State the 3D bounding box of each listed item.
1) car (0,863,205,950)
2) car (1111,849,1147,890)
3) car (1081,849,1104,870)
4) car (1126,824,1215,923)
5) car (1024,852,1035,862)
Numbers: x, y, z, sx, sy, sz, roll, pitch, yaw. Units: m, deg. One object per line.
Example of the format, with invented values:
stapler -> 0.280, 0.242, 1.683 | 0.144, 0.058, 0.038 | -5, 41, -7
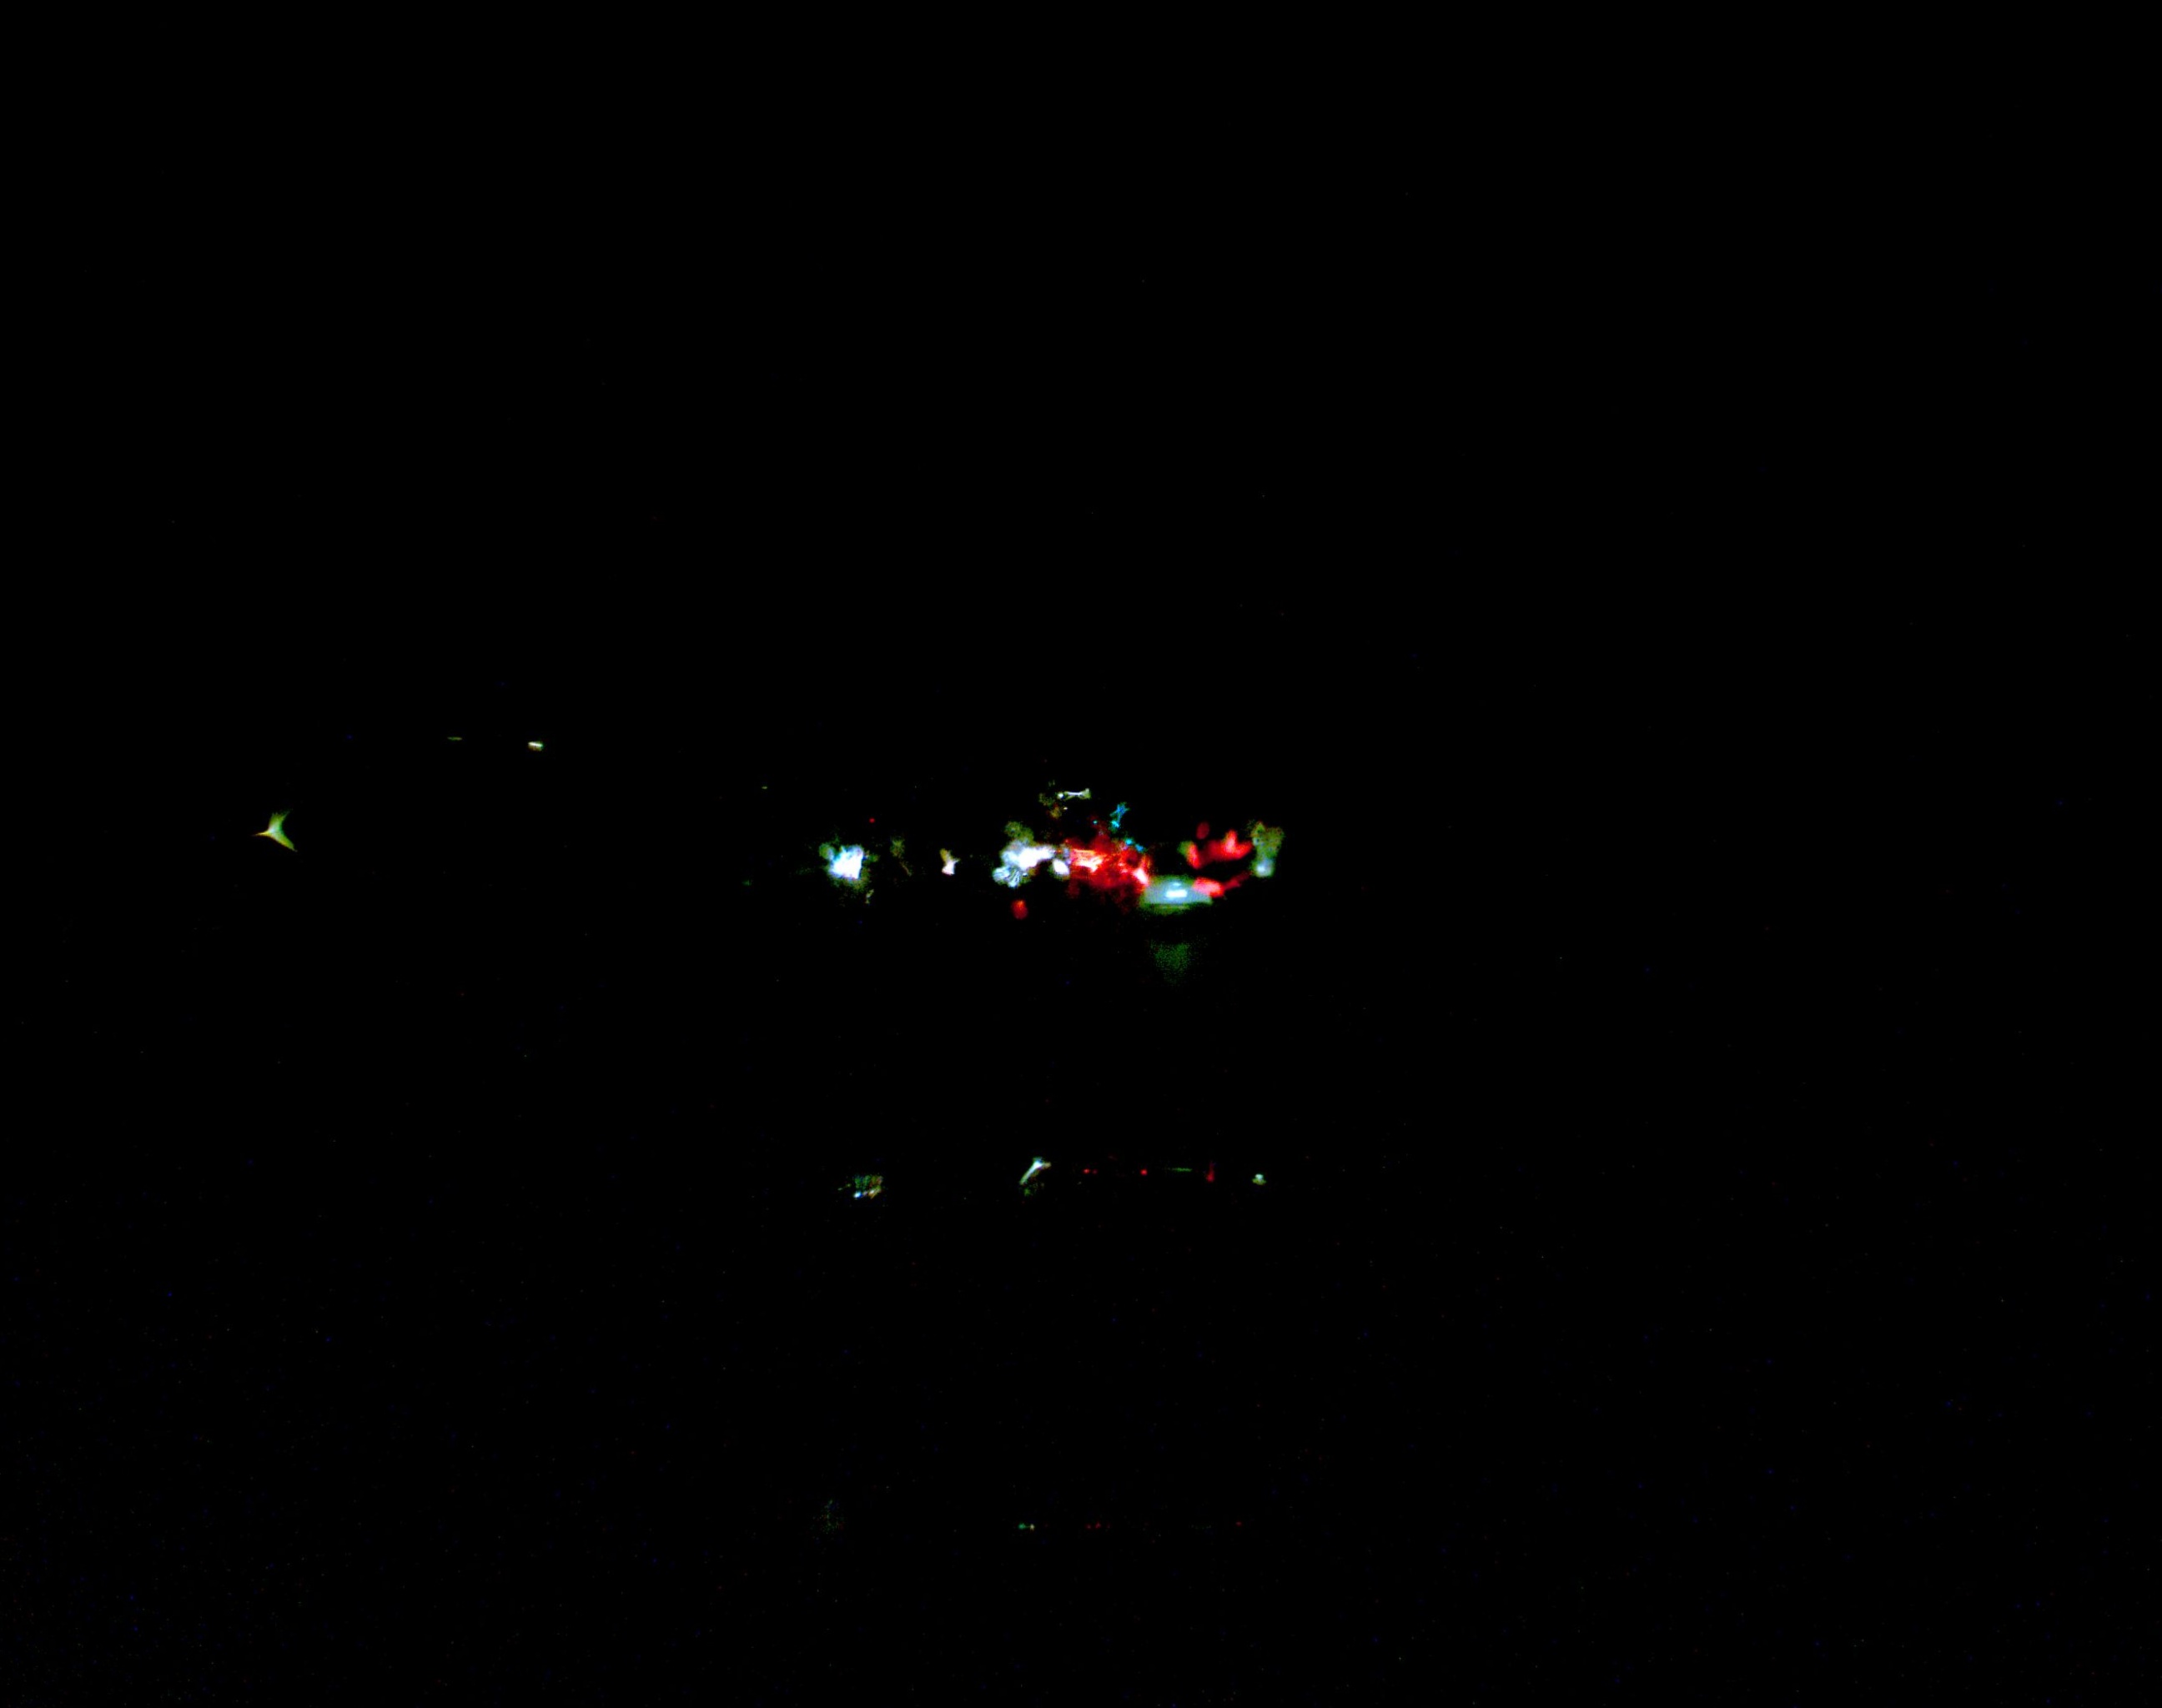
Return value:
car -> -22.899, 1.108, 18.343 | 1.781, 1.694, 4.216 | -1, 0, -1
car -> 2.607, 0.786, 43.770 | 1.783, 2.022, 4.585 | -3, 0, 4
car -> 1.025, 0.449, 73.635 | 1.779, 1.782, 4.432 | -3, 0, -2
car -> 2.063, 0.394, 19.559 | 1.783, 2.022, 4.585 | -3, 0, 4
car -> -8.661, 0.568, 137.545 | 1.797, 1.588, 4.027 | -2, -1, -3
